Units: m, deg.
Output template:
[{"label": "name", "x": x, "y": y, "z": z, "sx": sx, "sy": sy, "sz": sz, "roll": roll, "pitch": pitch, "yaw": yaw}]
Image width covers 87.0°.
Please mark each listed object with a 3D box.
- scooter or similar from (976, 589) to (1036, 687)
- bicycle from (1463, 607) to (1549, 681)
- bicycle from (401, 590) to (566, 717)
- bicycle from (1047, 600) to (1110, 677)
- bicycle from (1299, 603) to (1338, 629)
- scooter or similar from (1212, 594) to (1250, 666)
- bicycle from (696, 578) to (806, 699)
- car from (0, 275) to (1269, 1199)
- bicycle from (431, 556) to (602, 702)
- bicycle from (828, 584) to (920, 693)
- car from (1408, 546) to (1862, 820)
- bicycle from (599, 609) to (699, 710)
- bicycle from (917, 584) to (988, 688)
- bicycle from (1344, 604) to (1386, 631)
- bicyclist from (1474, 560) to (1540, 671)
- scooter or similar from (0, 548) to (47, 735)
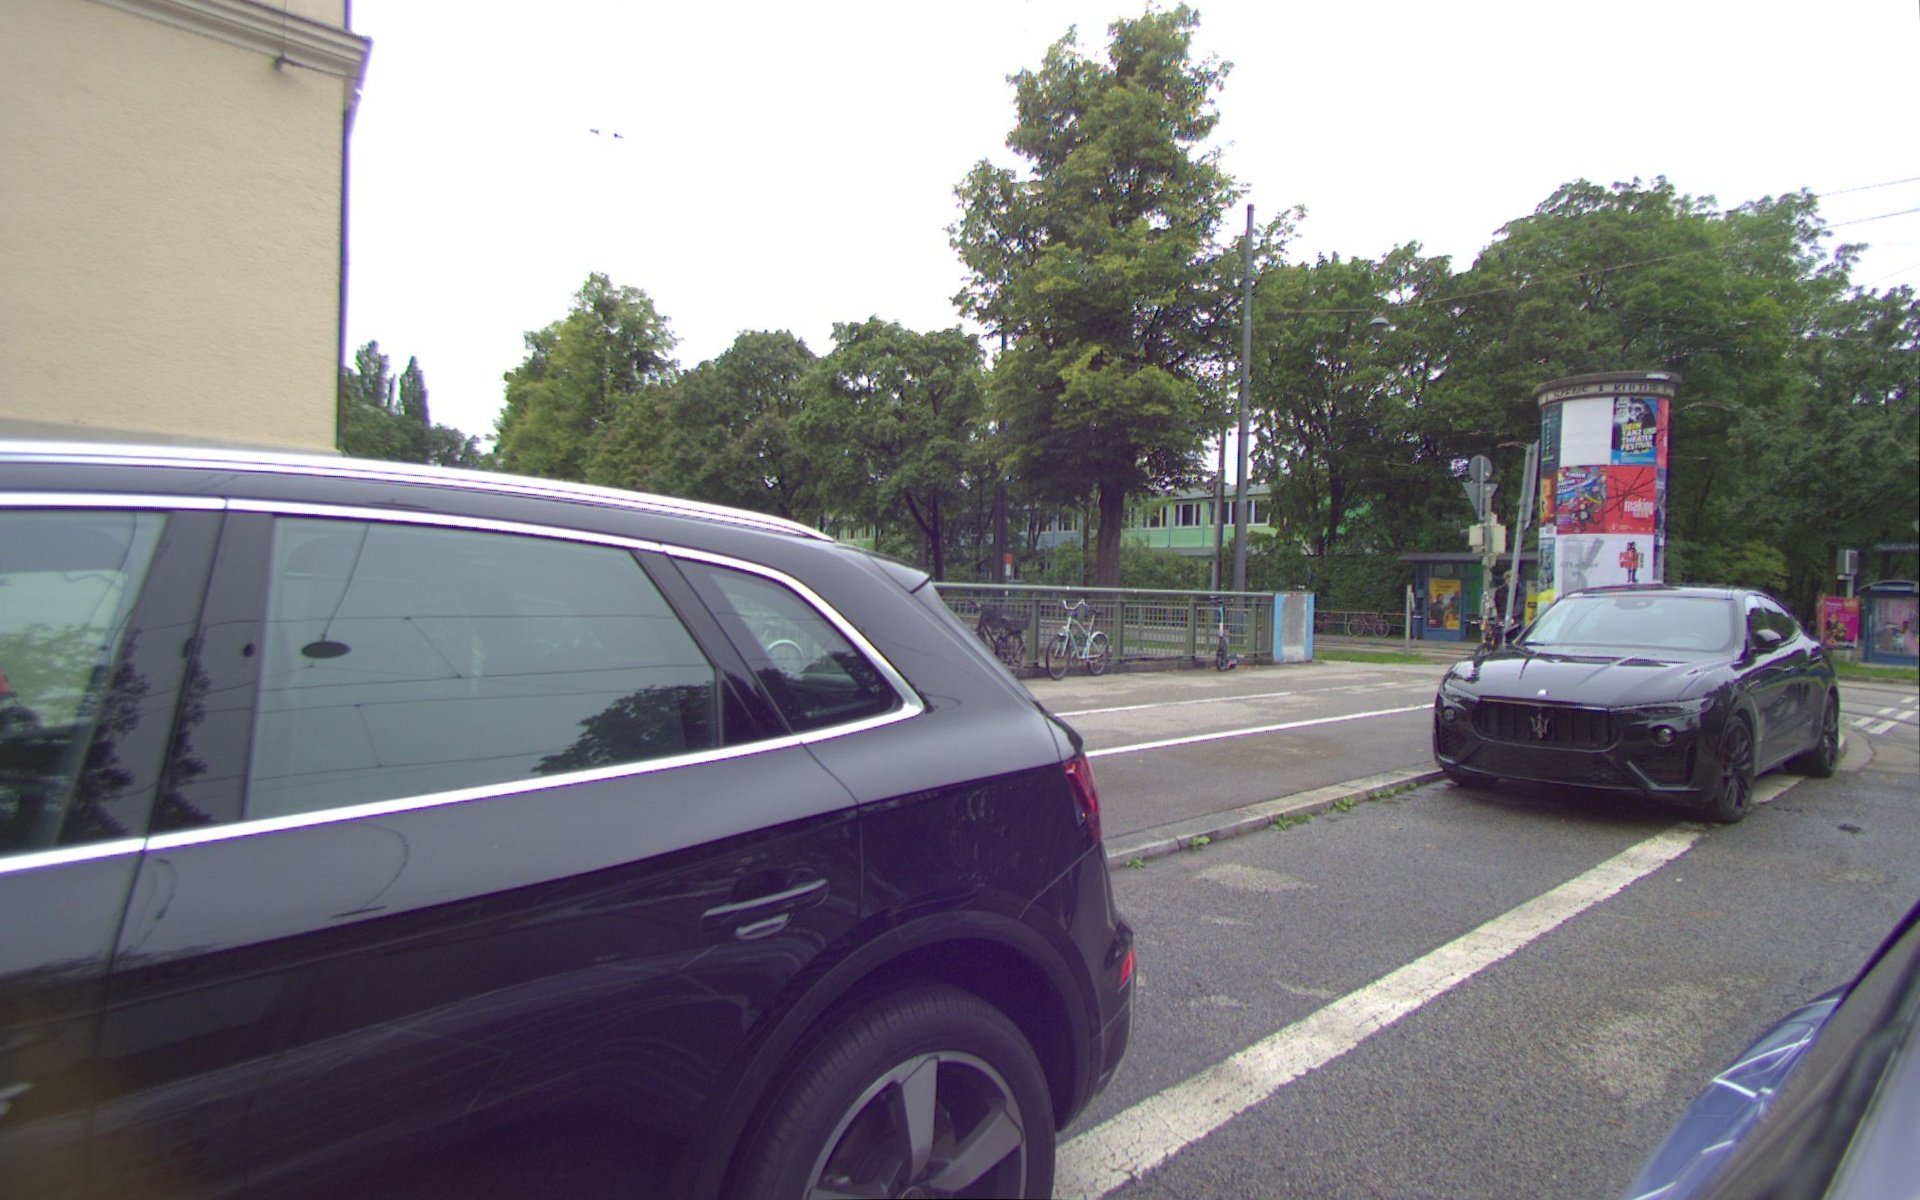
[{"label": "scooter or similar", "x": 0.652, "y": 0.497, "z": 13.961, "sx": 0.242, "sy": 1.279, "sz": 1.482, "roll": 0, "pitch": -1, "yaw": 27}, {"label": "bicycle", "x": 8.915, "y": 0.683, "z": 16.497, "sx": 1.879, "sy": 1.091, "sz": 0.580, "roll": 0, "pitch": 3, "yaw": -42}, {"label": "bicycle", "x": -4.497, "y": 0.474, "z": 9.625, "sx": 0.286, "sy": 1.120, "sz": 1.421, "roll": 1, "pitch": 0, "yaw": 42}, {"label": "bicycle", "x": 1.796, "y": 0.551, "z": 15.195, "sx": 0.263, "sy": 1.096, "sz": 1.523, "roll": -1, "pitch": -1, "yaw": 34}, {"label": "bicycle", "x": 14.161, "y": 0.635, "z": 39.956, "sx": 0.366, "sy": 0.964, "sz": 1.483, "roll": 0, "pitch": 1, "yaw": -38}, {"label": "scooter or similar", "x": 4.742, "y": 0.513, "z": 17.696, "sx": 0.224, "sy": 1.227, "sz": 1.006, "roll": -1, "pitch": -1, "yaw": 40}, {"label": "bicycle", "x": -2.351, "y": 0.412, "z": 11.506, "sx": 0.281, "sy": 1.298, "sz": 1.391, "roll": -1, "pitch": -1, "yaw": 38}, {"label": "car", "x": -1.500, "y": 0.515, "z": 1.686, "sx": 4.408, "sy": 1.679, "sz": 1.778, "roll": 0, "pitch": 0, "yaw": -40}, {"label": "bicycle", "x": -4.305, "y": 0.266, "z": 9.903, "sx": 1.511, "sy": 1.329, "sz": 0.332, "roll": 0, "pitch": -1, "yaw": -42}, {"label": "bicycle", "x": -1.052, "y": 0.457, "z": 12.625, "sx": 0.281, "sy": 1.298, "sz": 1.391, "roll": -1, "pitch": -1, "yaw": 38}, {"label": "car", "x": 5.671, "y": 0.525, "z": 8.257, "sx": 4.582, "sy": 1.630, "sz": 1.904, "roll": 1, "pitch": -1, "yaw": -40}, {"label": "bicycle", "x": -3.241, "y": 0.593, "z": 10.601, "sx": 0.247, "sy": 0.946, "sz": 1.133, "roll": 4, "pitch": 3, "yaw": 28}, {"label": "bicycle", "x": -0.077, "y": 0.453, "z": 13.314, "sx": 0.280, "sy": 1.298, "sz": 1.395, "roll": -1, "pitch": -1, "yaw": 29}, {"label": "bicycle", "x": 15.274, "y": 0.644, "z": 38.162, "sx": 0.366, "sy": 0.964, "sz": 1.483, "roll": 0, "pitch": 1, "yaw": -38}, {"label": "bicyclist", "x": 8.910, "y": 0.252, "z": 16.488, "sx": 0.714, "sy": 1.751, "sz": 0.725, "roll": 0, "pitch": -1, "yaw": -41}, {"label": "scooter or similar", "x": -7.150, "y": 0.296, "z": 7.071, "sx": 1.122, "sy": 1.329, "sz": 0.261, "roll": 0, "pitch": -1, "yaw": -41}]
